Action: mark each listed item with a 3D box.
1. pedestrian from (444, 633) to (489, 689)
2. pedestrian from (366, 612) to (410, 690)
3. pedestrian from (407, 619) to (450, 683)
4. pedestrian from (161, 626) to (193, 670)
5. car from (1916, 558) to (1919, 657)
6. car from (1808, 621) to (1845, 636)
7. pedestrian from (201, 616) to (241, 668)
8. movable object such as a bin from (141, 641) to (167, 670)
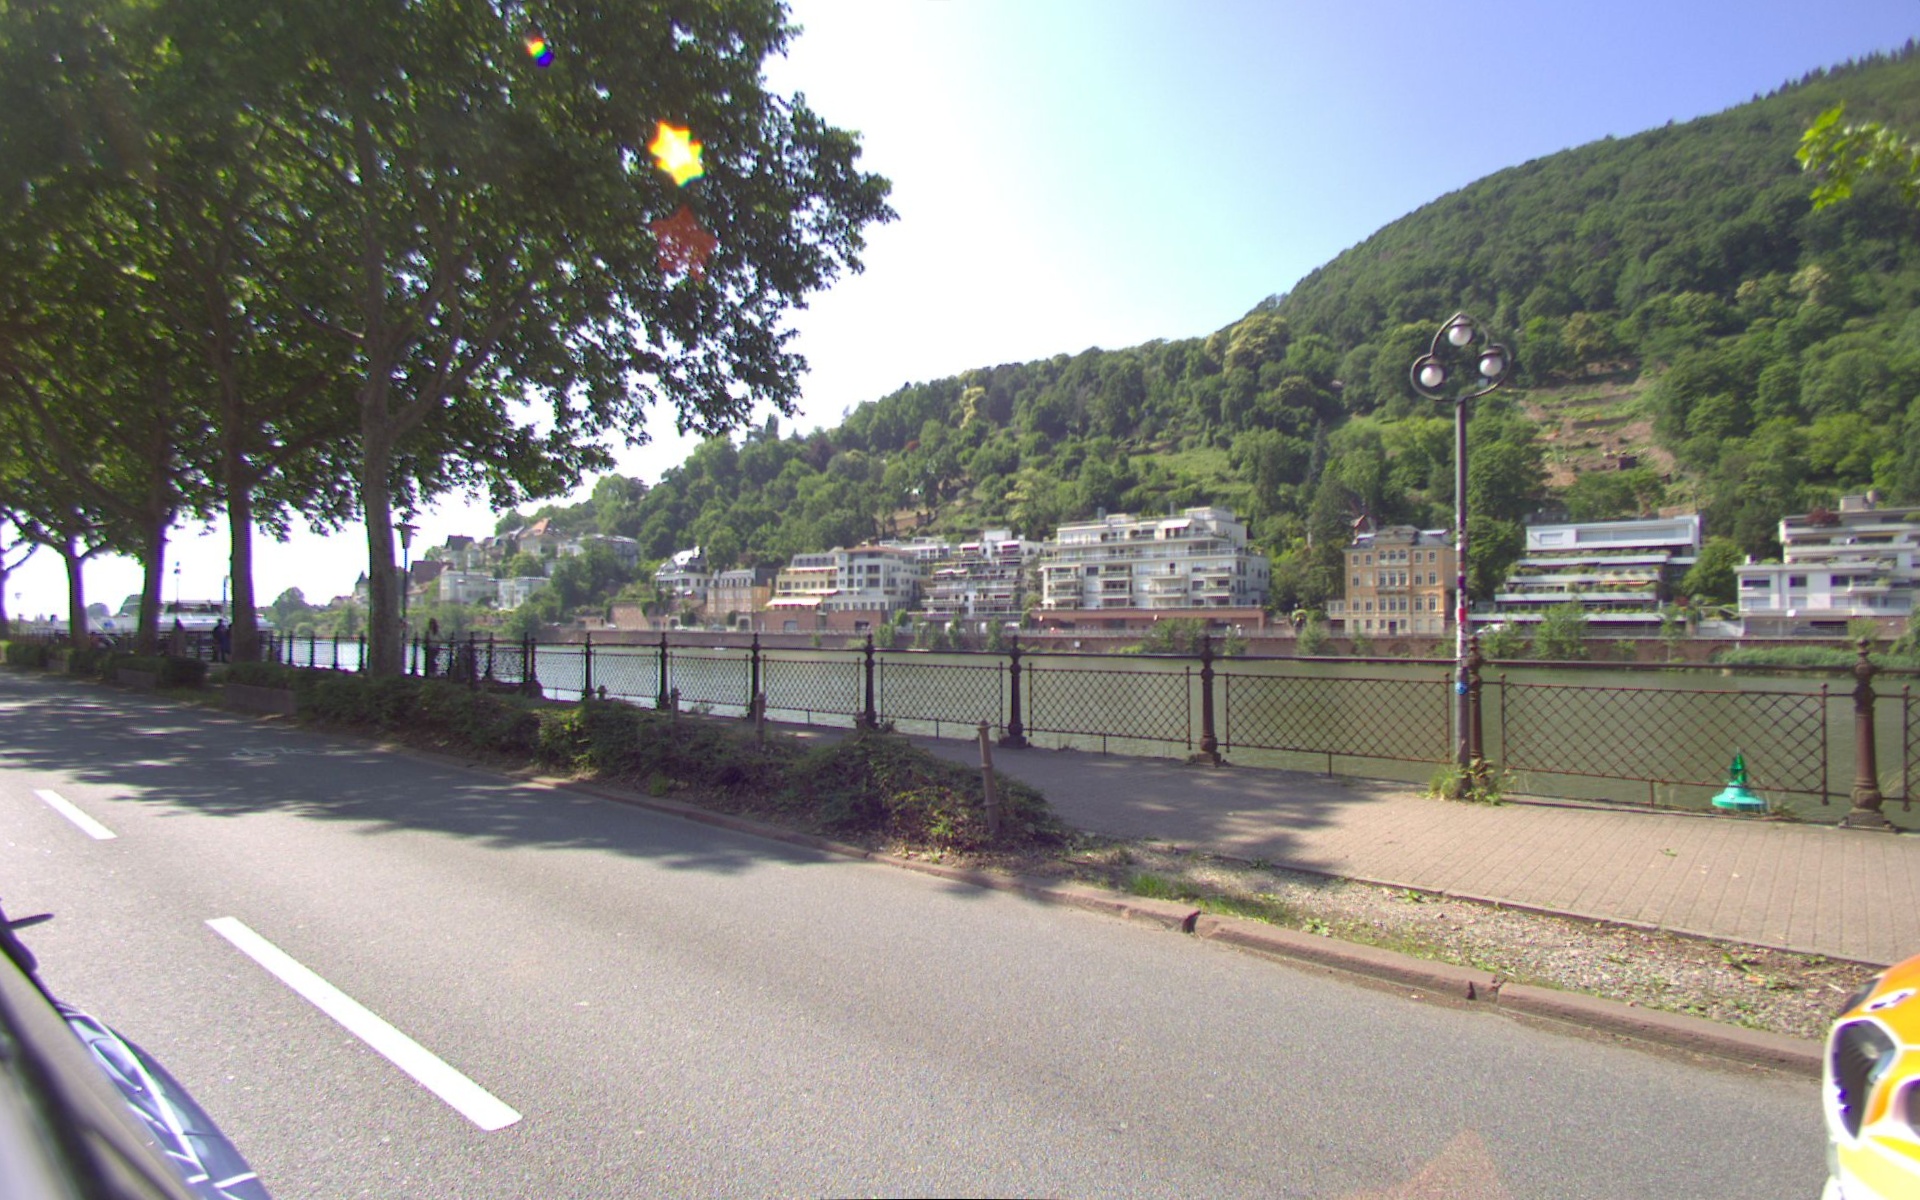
[{"bbox_3d":[-12.562,1.540,25.771,0.770,1.398,0.758,-2,-3,40],"label":"pedestrian"},{"bbox_3d":[-14.309,1.264,25.314,0.756,1.915,0.771,3,-4,-42],"label":"pedestrian"},{"bbox_3d":[-15.216,1.457,28.979,0.829,1.771,0.767,-2,-4,40],"label":"pedestrian"},{"bbox_3d":[-30.145,1.835,38.966,0.885,1.647,1.060,0,0,-44],"label":"pedestrian"},{"bbox_3d":[3.564,0.631,0.602,4.220,1.673,1.656,-2,-5,41],"label":"car"},{"bbox_3d":[126.029,4.150,147.276,3.998,2.029,1.973,-2,-1,41],"label":"car"},{"bbox_3d":[-29.474,1.647,40.382,1.032,2.029,1.038,-1,0,-19],"label":"pedestrian"},{"bbox_3d":[-31.190,2.140,39.176,0.783,1.057,0.694,-1,0,44],"label":"movable object such as a bin"}]
